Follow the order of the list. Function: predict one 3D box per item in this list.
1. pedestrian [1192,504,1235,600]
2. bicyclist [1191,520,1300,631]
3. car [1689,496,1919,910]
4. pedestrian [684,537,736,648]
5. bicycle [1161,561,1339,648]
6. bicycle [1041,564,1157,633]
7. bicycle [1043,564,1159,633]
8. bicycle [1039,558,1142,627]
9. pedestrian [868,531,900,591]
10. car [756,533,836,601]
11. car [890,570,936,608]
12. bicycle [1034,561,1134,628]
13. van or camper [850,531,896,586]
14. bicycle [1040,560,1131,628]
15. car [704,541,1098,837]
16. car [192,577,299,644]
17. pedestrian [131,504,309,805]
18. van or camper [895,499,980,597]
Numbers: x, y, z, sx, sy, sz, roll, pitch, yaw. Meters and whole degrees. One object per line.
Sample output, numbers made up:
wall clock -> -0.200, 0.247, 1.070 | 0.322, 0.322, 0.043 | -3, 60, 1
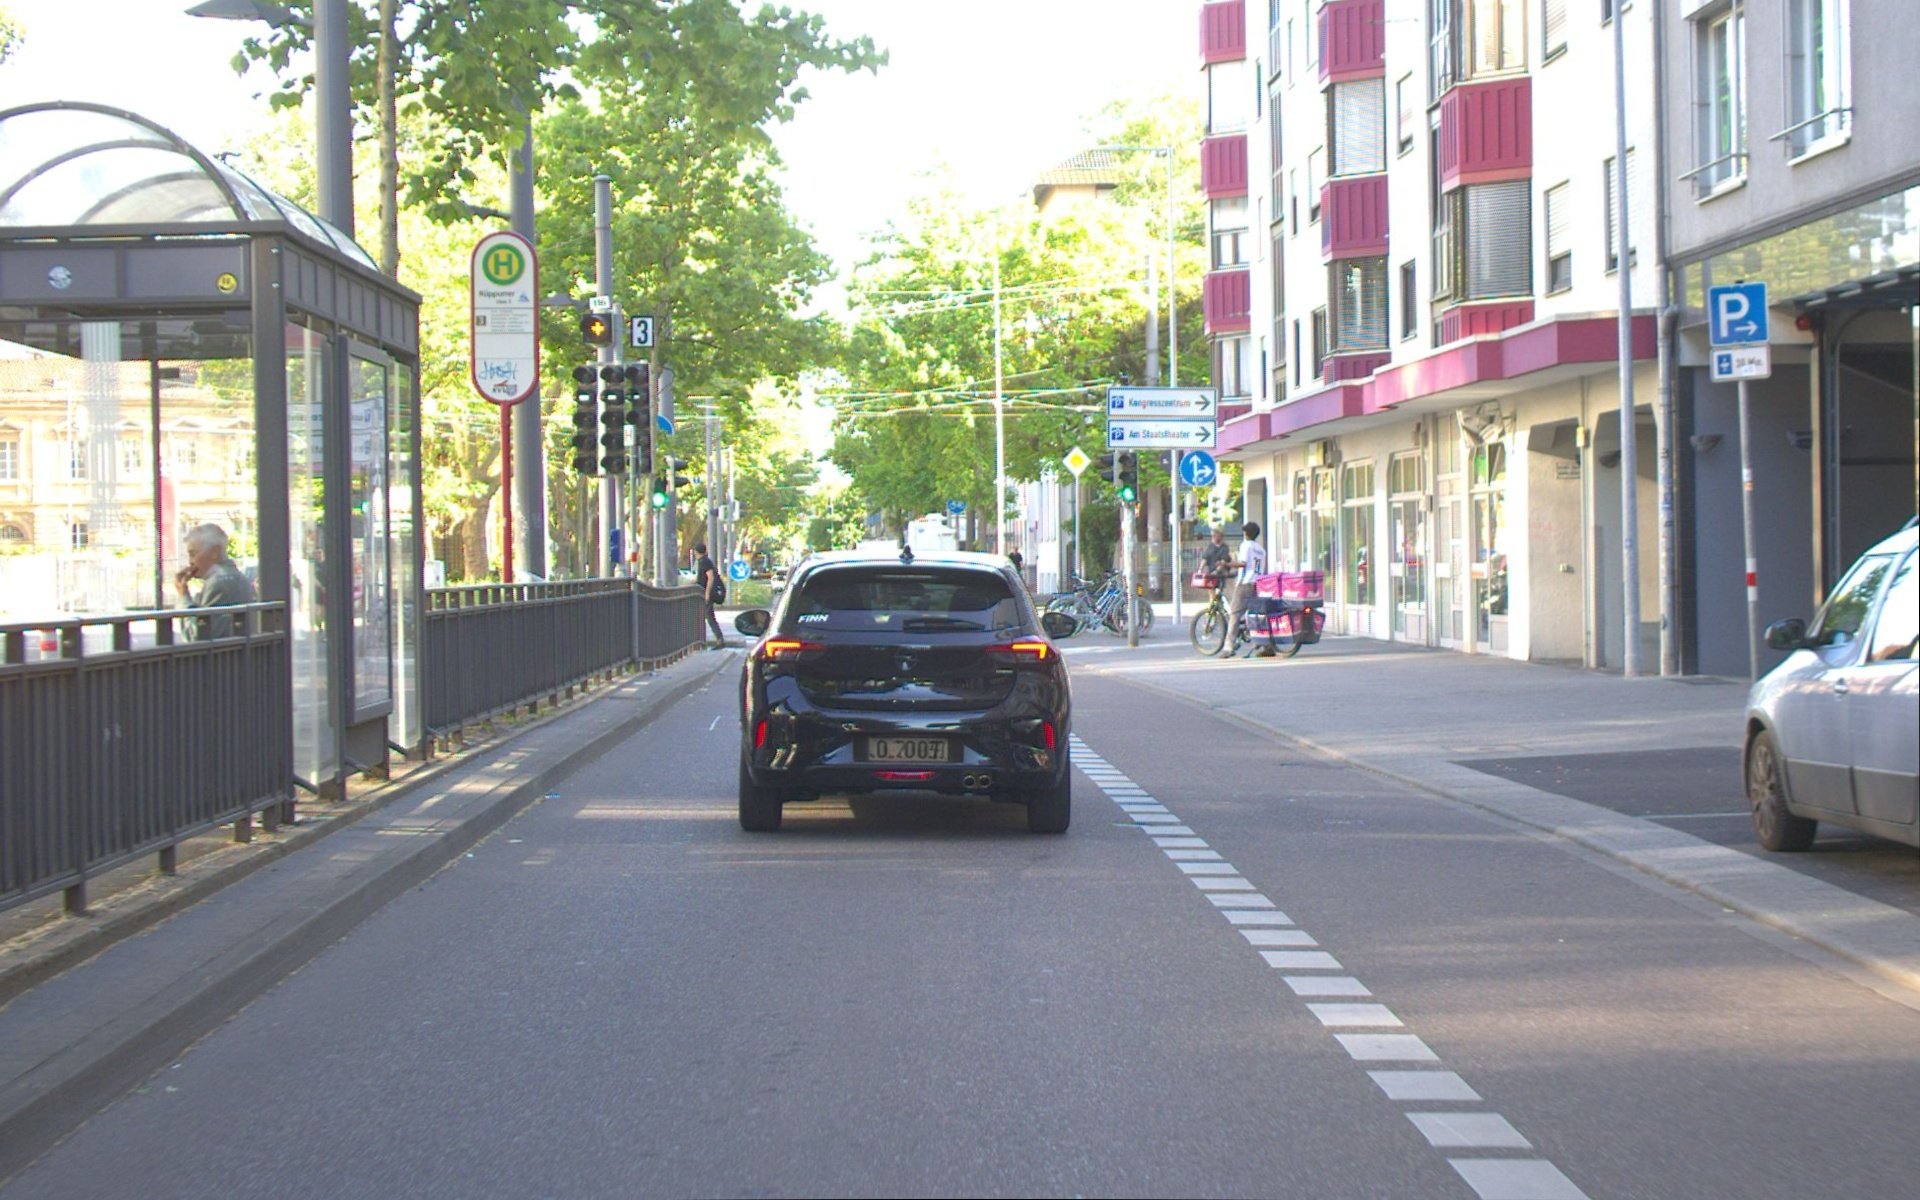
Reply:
pedestrian -> 4.937, -0.927, 67.027 | 0.722, 1.851, 0.801 | -1, 0, -2
bicyclist -> 4.015, -0.341, 48.318 | 1.057, 1.535, 1.078 | -1, 0, -39
car -> 4.608, 0.345, 14.896 | 1.832, 1.617, 4.285 | -3, 0, -1
pedestrian -> -3.976, -0.122, 54.680 | 0.734, 1.741, 0.712 | 0, 1, 3
bicycle -> 4.052, 0.057, 48.290 | 0.960, 1.179, 2.597 | -1, 0, -39
bicycle -> 2.451, -0.027, 60.732 | 1.976, 1.195, 0.591 | -1, 0, -6
bicycle -> 2.461, -0.022, 60.059 | 1.939, 1.166, 0.572 | -1, 0, -4
bicycle -> 2.331, -0.131, 61.561 | 1.831, 1.216, 0.496 | -1, 0, 2
pedestrian -> -2.556, -1.315, 115.839 | 1.036, 2.017, 1.212 | 0, 0, -3
car -> -4.045, -0.808, 85.327 | 1.832, 1.617, 4.285 | 1, 0, -1
car -> -1.983, -0.474, 144.005 | 1.790, 1.505, 3.874 | -2, 0, -2
bicycle -> 2.273, -0.102, 62.887 | 1.802, 1.195, 0.545 | -1, -1, 3
van or camper -> -4.806, -2.281, 190.620 | 2.486, 2.983, 5.434 | 1, 0, -1
bicycle -> 2.265, -0.107, 62.132 | 1.623, 1.195, 0.496 | -1, 0, 3
car -> -0.324, 0.411, 18.796 | 1.905, 1.420, 4.215 | 0, 1, -1
car -> -21.448, 0.297, 103.359 | 1.994, 1.941, 4.423 | 0, 1, 5
pedestrian -> -3.318, 0.236, 15.469 | 0.626, 1.315, 0.801 | 0, 0, -1
van or camper -> -0.825, -1.733, 117.180 | 2.375, 3.114, 7.551 | -3, 0, -3
